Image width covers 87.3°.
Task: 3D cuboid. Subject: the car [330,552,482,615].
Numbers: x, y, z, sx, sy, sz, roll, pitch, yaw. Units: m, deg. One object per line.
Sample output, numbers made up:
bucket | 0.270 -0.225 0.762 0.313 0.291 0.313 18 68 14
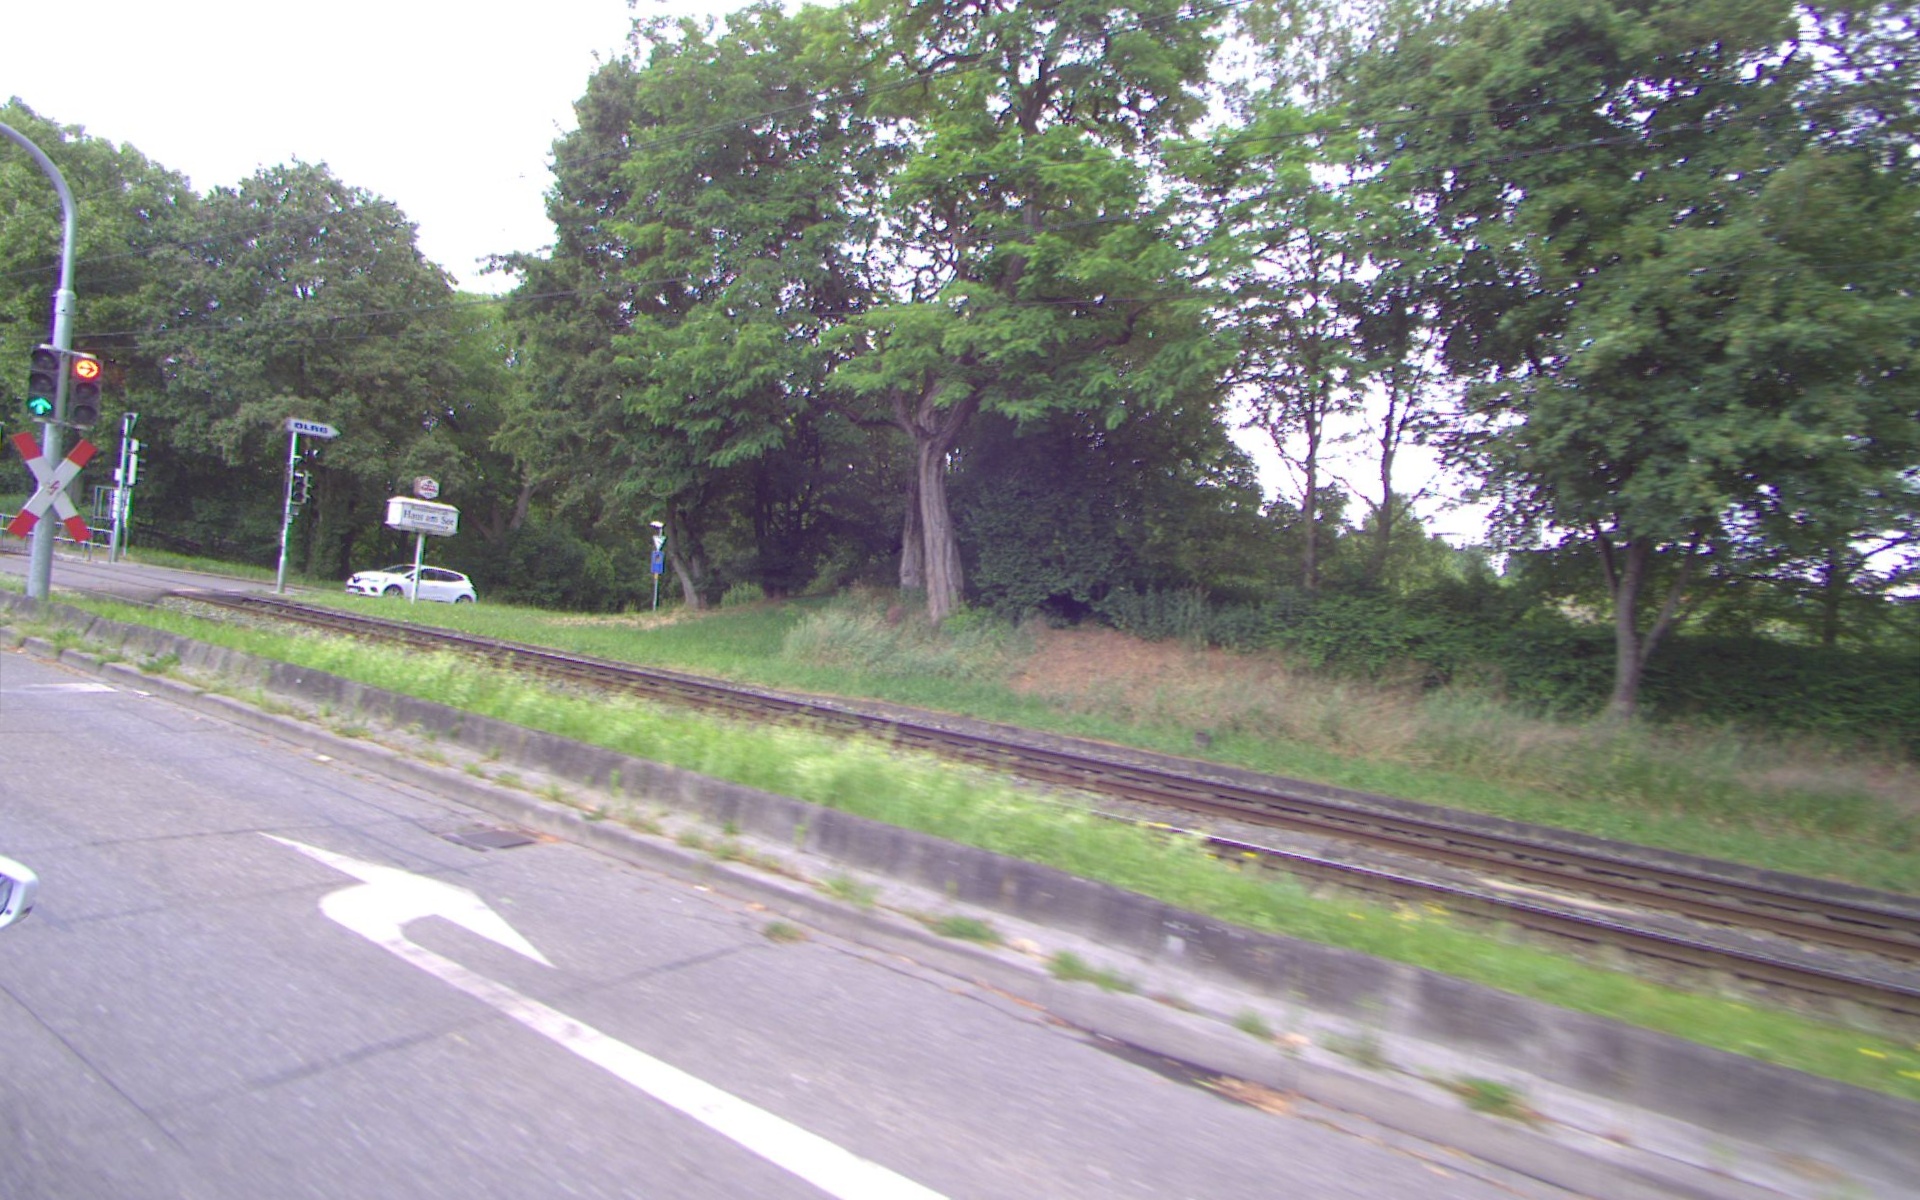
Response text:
car | -18.675 -0.522 34.115 1.965 1.368 4.004 7 -5 26
